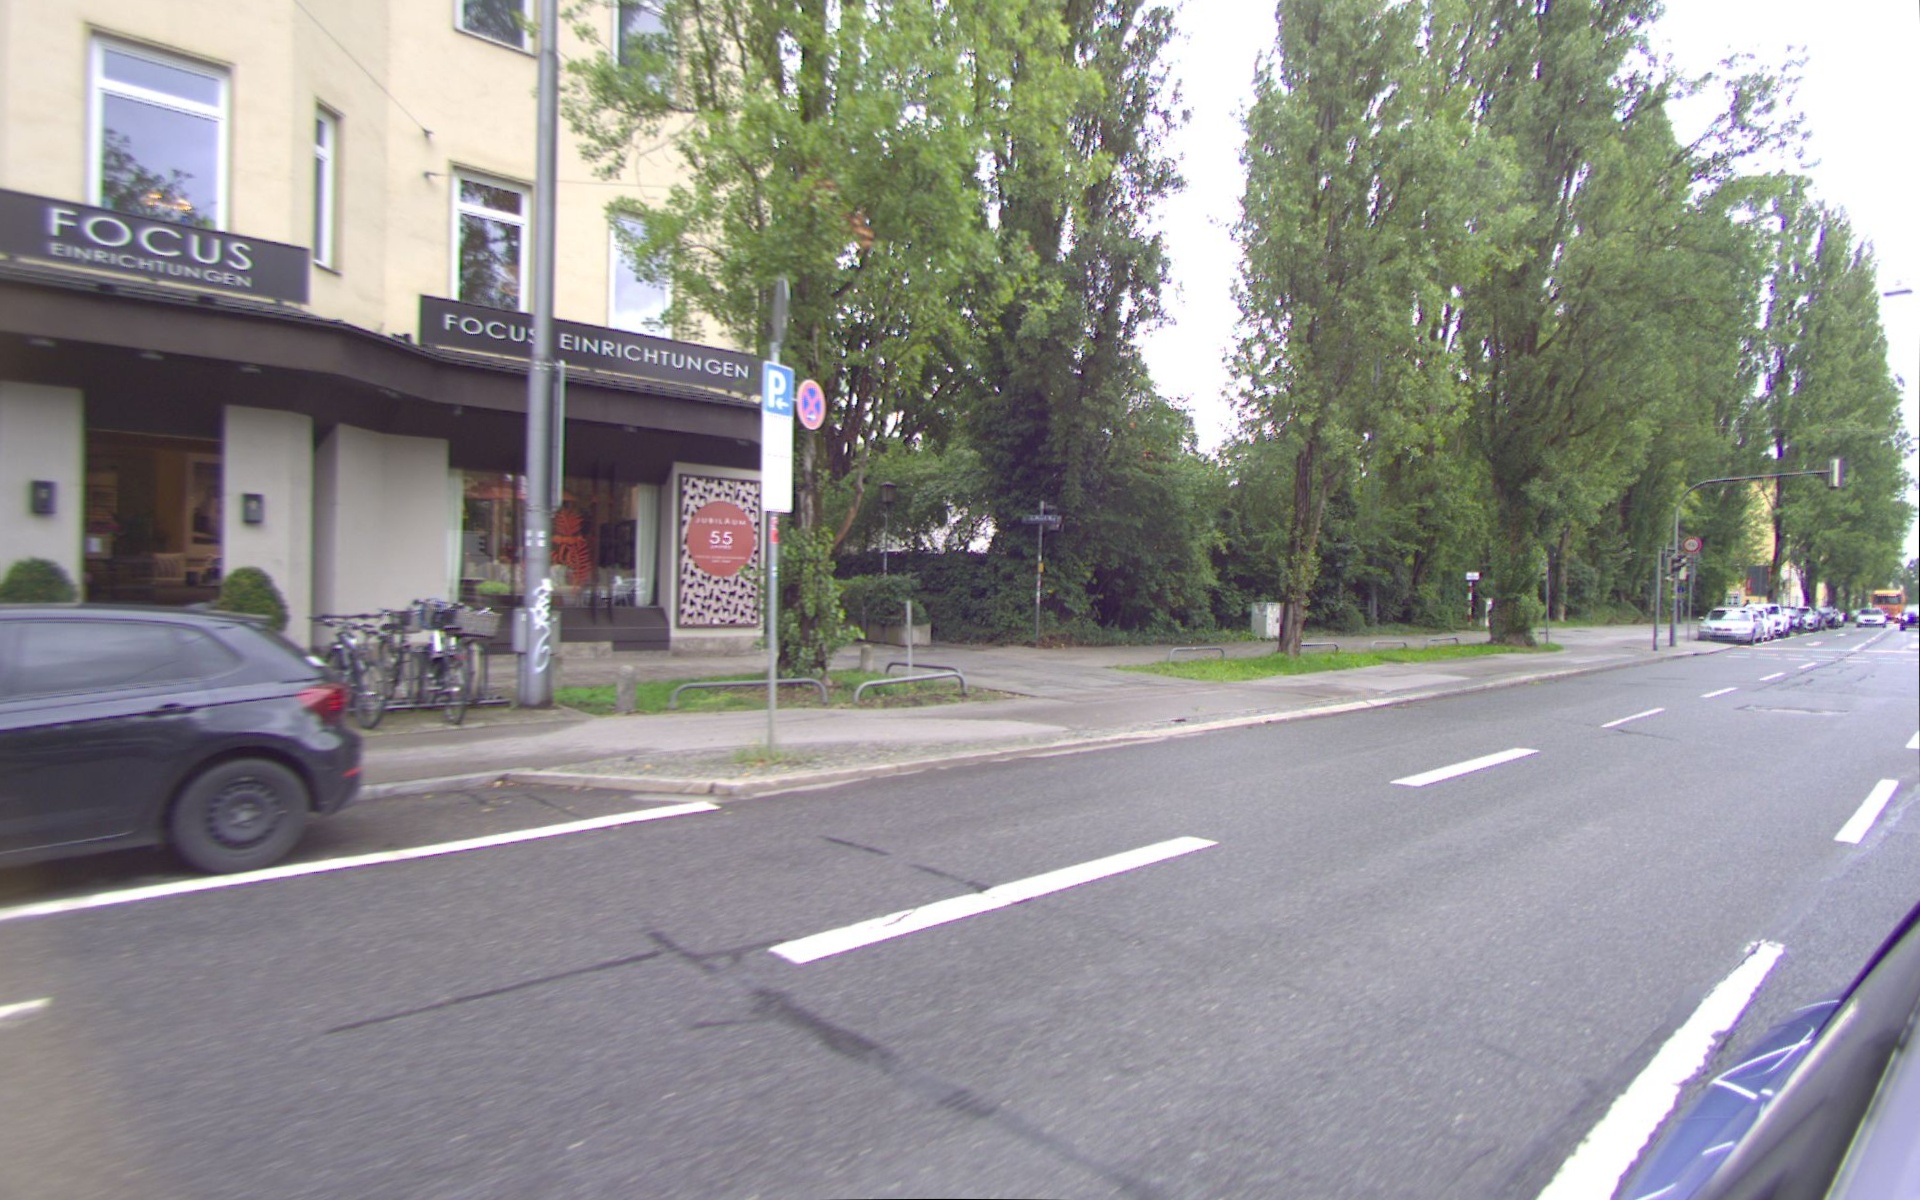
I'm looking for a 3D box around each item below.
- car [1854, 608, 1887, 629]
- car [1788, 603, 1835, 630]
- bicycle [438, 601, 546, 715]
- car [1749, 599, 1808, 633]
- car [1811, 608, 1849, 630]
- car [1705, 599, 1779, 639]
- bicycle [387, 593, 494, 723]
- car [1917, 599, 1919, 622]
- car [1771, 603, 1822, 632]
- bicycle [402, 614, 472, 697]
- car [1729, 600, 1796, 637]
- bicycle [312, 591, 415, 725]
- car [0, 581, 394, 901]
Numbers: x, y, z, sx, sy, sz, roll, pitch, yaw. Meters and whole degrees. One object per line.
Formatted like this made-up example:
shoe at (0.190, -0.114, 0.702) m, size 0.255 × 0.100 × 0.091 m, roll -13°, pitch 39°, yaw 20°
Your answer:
car at (72.650, 1.454, 80.743) m, size 1.782 × 1.505 × 4.072 m, roll 1°, pitch 1°, yaw 45°
car at (51.241, 0.969, 60.877) m, size 1.782 × 1.505 × 4.072 m, roll 1°, pitch 1°, yaw 45°
bicycle at (-5.083, 0.579, 10.930) m, size 0.488 × 1.095 × 1.885 m, roll 1°, pitch 1°, yaw -43°
car at (38.948, 0.737, 48.121) m, size 1.782 × 1.505 × 4.072 m, roll 1°, pitch 1°, yaw 45°
car at (62.600, 1.352, 72.821) m, size 1.782 × 1.505 × 4.072 m, roll 1°, pitch 1°, yaw 45°
car at (31.418, 0.720, 40.626) m, size 4.281 × 1.505 × 1.782 m, roll 0°, pitch 1°, yaw -44°
bicycle at (-5.442, 0.553, 10.552) m, size 0.488 × 1.200 × 1.885 m, roll 1°, pitch 1°, yaw -43°
car at (63.880, 0.709, 66.189) m, size 1.782 × 1.505 × 4.072 m, roll 1°, pitch 1°, yaw 45°
car at (46.041, 0.936, 55.676) m, size 1.782 × 1.505 × 4.072 m, roll 1°, pitch 1°, yaw 45°
bicycle at (-6.298, 0.637, 12.166) m, size 0.382 × 0.895 × 1.369 m, roll 1°, pitch 1°, yaw -43°
car at (35.363, 0.784, 44.563) m, size 4.188 × 1.505 × 1.782 m, roll 0°, pitch 1°, yaw -44°
bicycle at (-6.014, 0.526, 10.160) m, size 0.488 × 1.200 × 1.885 m, roll 1°, pitch 1°, yaw -43°
car at (-5.302, 0.640, 5.125) m, size 3.934 × 1.484 × 1.801 m, roll 0°, pitch 0°, yaw -44°
